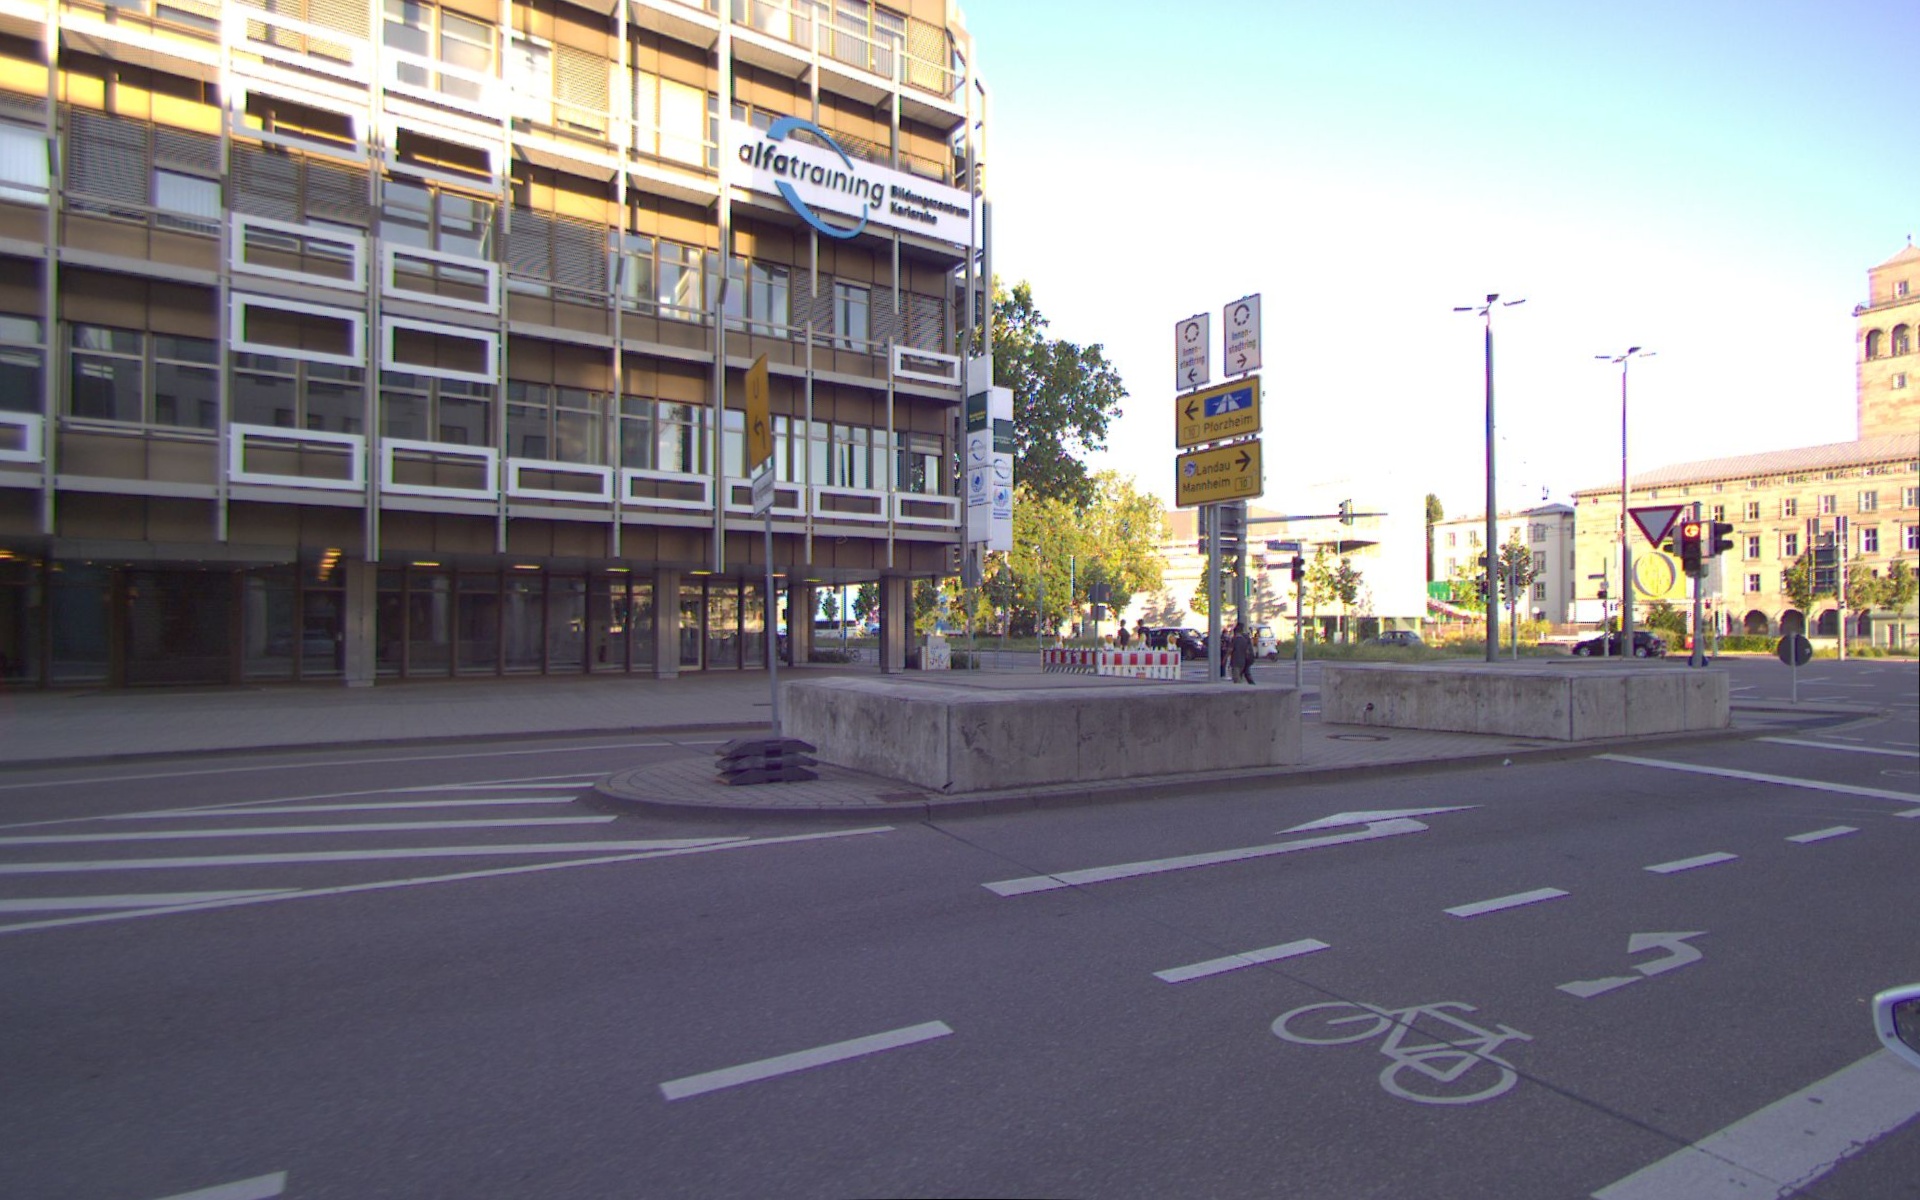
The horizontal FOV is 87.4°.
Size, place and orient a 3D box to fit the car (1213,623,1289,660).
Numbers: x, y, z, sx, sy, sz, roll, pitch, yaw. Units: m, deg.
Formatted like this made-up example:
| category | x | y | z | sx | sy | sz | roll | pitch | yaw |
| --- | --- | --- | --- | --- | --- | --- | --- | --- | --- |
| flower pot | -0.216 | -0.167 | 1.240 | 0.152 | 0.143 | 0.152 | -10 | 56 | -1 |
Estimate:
| category | x | y | z | sx | sy | sz | roll | pitch | yaw |
| --- | --- | --- | --- | --- | --- | --- | --- | --- | --- |
| car | 13.799 | 1.941 | 47.722 | 1.600 | 1.707 | 3.102 | 1 | -2 | -43 |

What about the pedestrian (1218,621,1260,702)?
| category | x | y | z | sx | sy | sz | roll | pitch | yaw |
| --- | --- | --- | --- | --- | --- | --- | --- | --- | --- |
| pedestrian | 6.369 | 1.380 | 22.924 | 0.728 | 1.800 | 0.861 | -1 | -1 | 32 |

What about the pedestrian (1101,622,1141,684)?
| category | x | y | z | sx | sy | sz | roll | pitch | yaw |
| --- | --- | --- | --- | --- | --- | --- | --- | --- | --- |
| pedestrian | 4.780 | 1.583 | 29.890 | 0.853 | 1.800 | 0.735 | 0 | -4 | -29 |

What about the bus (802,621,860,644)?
| category | x | y | z | sx | sy | sz | roll | pitch | yaw |
| --- | --- | --- | --- | --- | --- | --- | --- | --- | --- |
| bus | -17.306 | 4.315 | 134.137 | 3.188 | 2.948 | 10.422 | 1 | -2 | -36 |

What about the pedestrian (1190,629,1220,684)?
| category | x | y | z | sx | sy | sz | roll | pitch | yaw |
| --- | --- | --- | --- | --- | --- | --- | --- | --- | --- |
| pedestrian | 8.335 | 1.927 | 34.180 | 0.847 | 1.800 | 0.741 | -3 | -4 | 22 |

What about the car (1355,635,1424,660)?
| category | x | y | z | sx | sy | sz | roll | pitch | yaw |
| --- | --- | --- | --- | --- | --- | --- | --- | --- | --- |
| car | 26.288 | 2.897 | 61.557 | 1.531 | 1.472 | 3.689 | 1 | -2 | -36 |

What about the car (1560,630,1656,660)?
| category | x | y | z | sx | sy | sz | roll | pitch | yaw |
| --- | --- | --- | --- | --- | --- | --- | --- | --- | --- |
| car | 33.566 | 2.295 | 52.099 | 1.533 | 1.472 | 3.943 | 1 | -2 | -39 |

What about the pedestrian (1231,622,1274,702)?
| category | x | y | z | sx | sy | sz | roll | pitch | yaw |
| --- | --- | --- | --- | --- | --- | --- | --- | --- | --- |
| pedestrian | 6.819 | 1.415 | 23.409 | 0.728 | 1.800 | 0.860 | 0 | -1 | 35 |

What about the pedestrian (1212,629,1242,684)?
| category | x | y | z | sx | sy | sz | roll | pitch | yaw |
| --- | --- | --- | --- | --- | --- | --- | --- | --- | --- |
| pedestrian | 8.948 | 1.911 | 33.680 | 0.846 | 1.800 | 0.741 | -3 | -4 | 19 |

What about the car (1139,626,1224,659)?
| category | x | y | z | sx | sy | sz | roll | pitch | yaw |
| --- | --- | --- | --- | --- | --- | --- | --- | --- | --- |
| car | 11.310 | 2.170 | 51.500 | 1.681 | 1.613 | 4.150 | 1 | -2 | -38 |

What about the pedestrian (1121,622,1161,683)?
| category | x | y | z | sx | sy | sz | roll | pitch | yaw |
| --- | --- | --- | --- | --- | --- | --- | --- | --- | --- |
| pedestrian | 5.462 | 1.596 | 30.347 | 0.853 | 1.800 | 0.735 | 1 | -4 | -31 |
